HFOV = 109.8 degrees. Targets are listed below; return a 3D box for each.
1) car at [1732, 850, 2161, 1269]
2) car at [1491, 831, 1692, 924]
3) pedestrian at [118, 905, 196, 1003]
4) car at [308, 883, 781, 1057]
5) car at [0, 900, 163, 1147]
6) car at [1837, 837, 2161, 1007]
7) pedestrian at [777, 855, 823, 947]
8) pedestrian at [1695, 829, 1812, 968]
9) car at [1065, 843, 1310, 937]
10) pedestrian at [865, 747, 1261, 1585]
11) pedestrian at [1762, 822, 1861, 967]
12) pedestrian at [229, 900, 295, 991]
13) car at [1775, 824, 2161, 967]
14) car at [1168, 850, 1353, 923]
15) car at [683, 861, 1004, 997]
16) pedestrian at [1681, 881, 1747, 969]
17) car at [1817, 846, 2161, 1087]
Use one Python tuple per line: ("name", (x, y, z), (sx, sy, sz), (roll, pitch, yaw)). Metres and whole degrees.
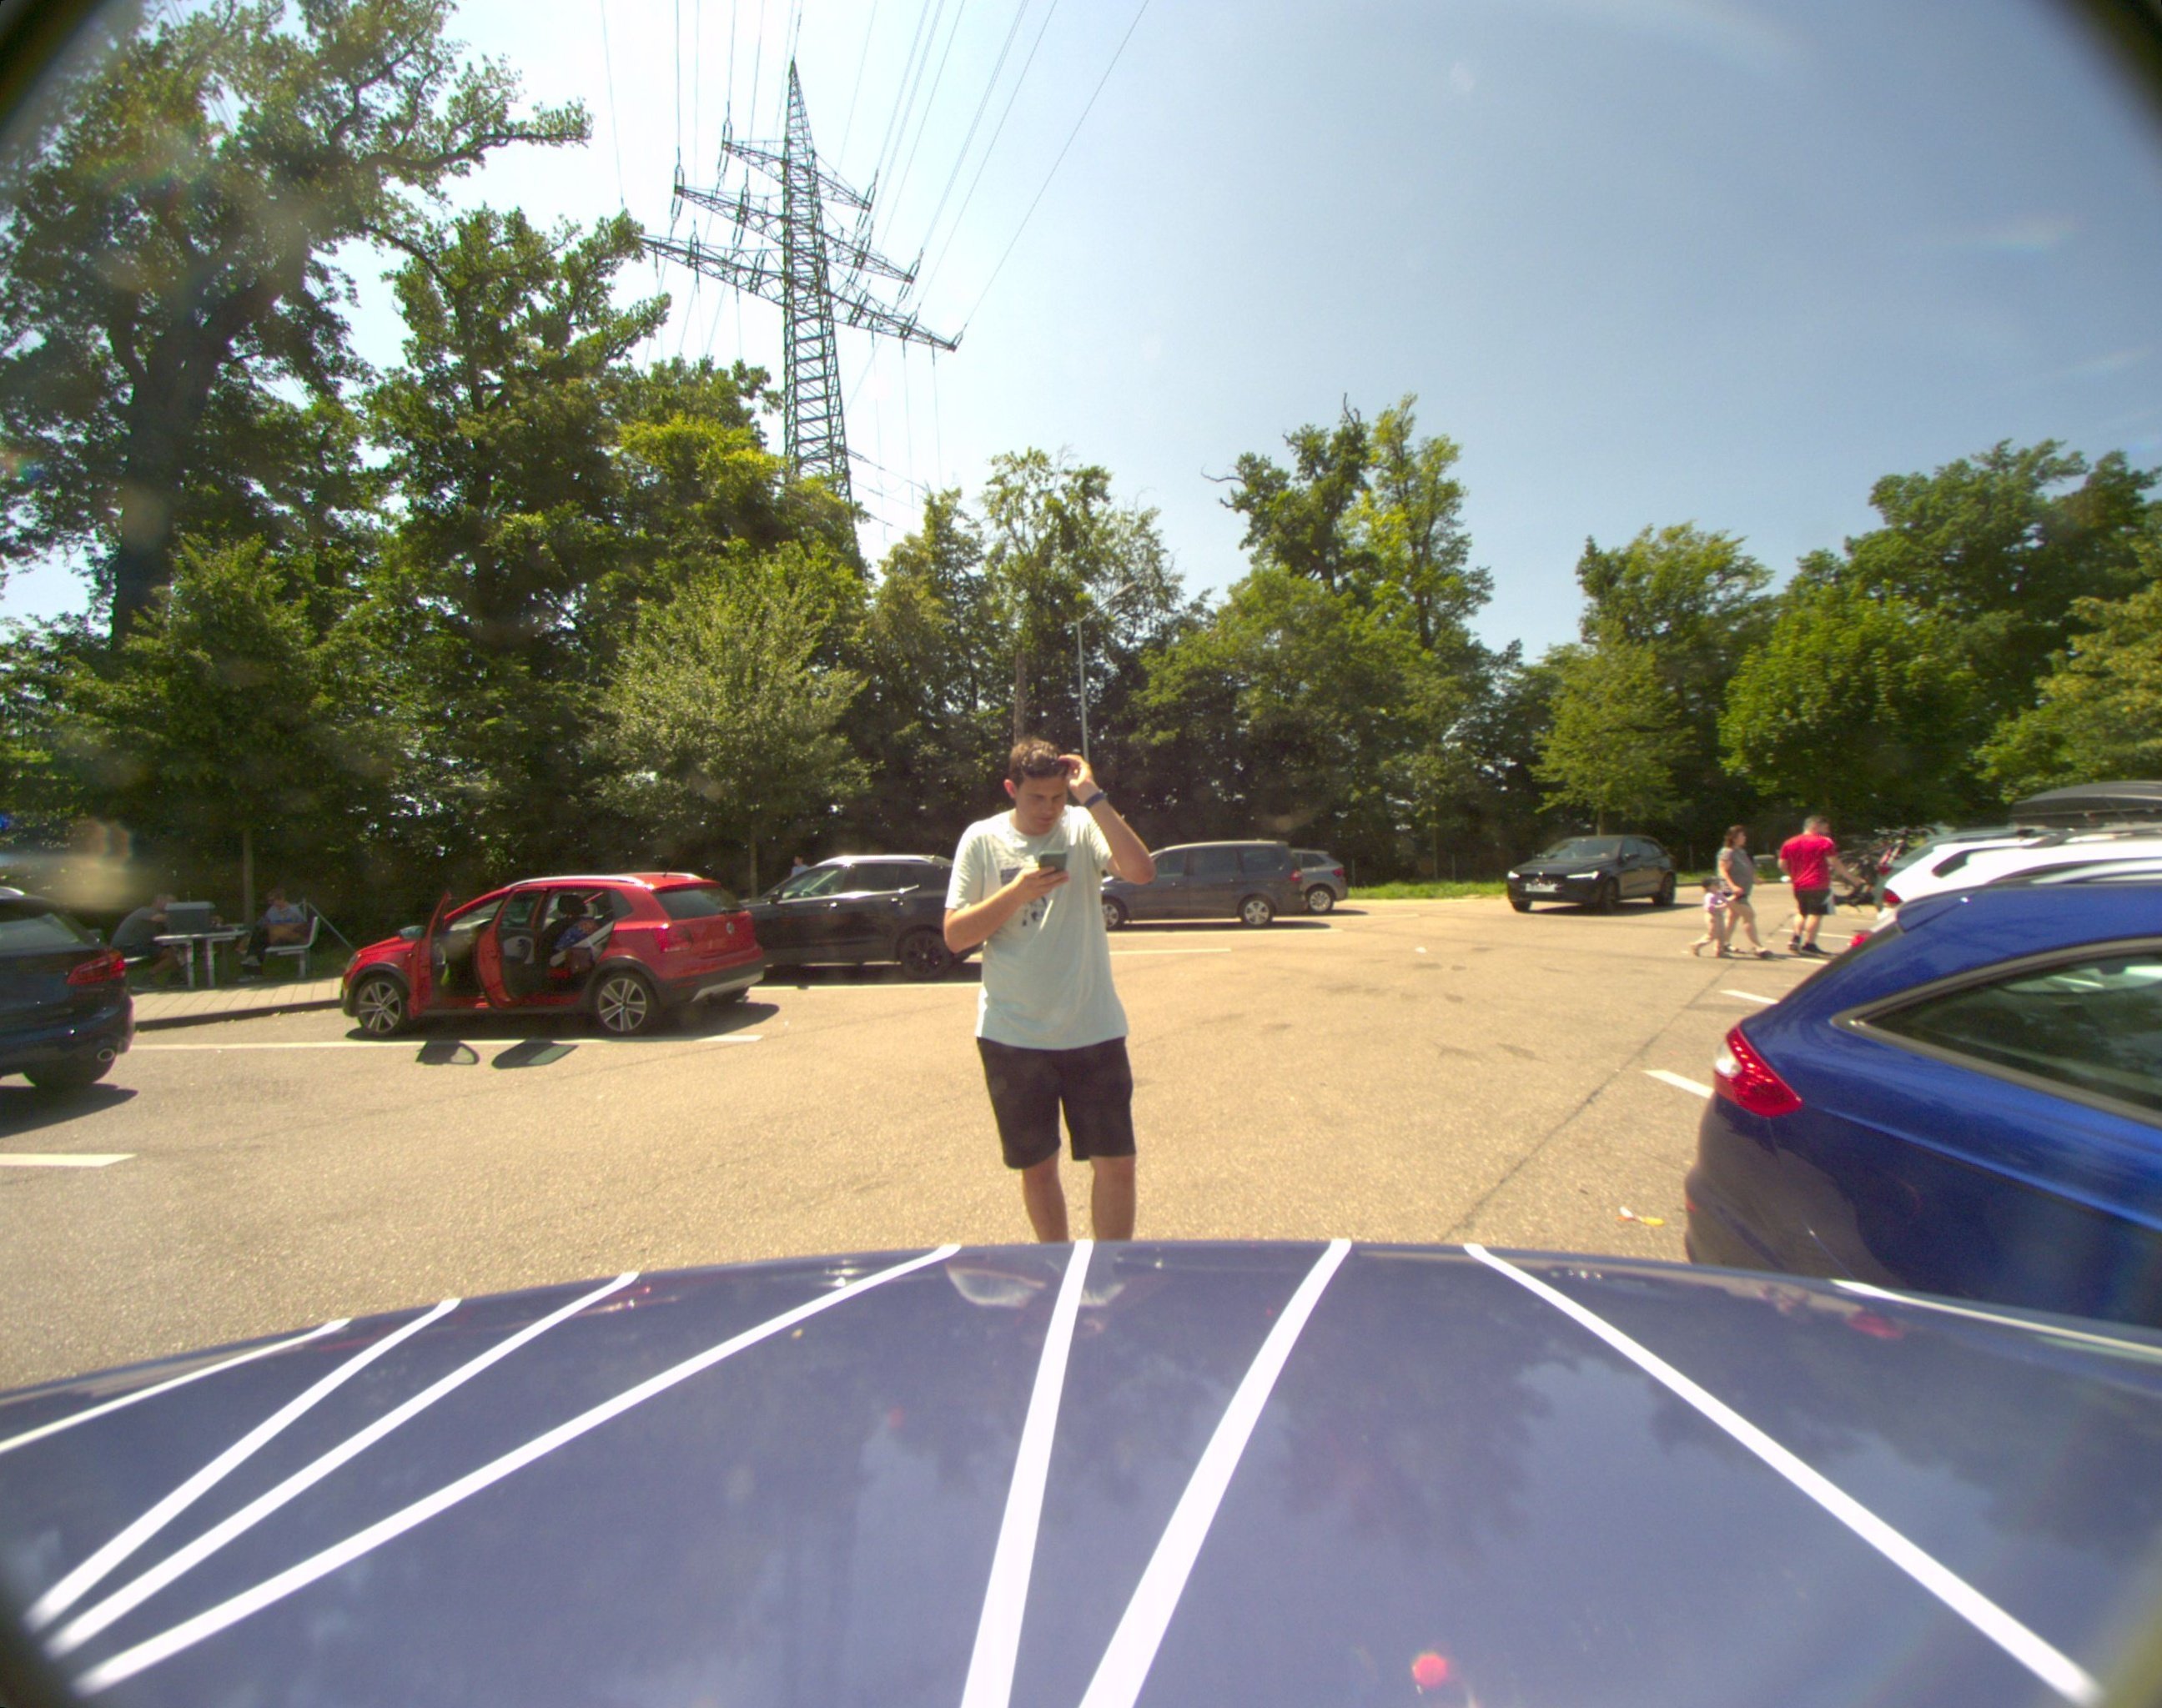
("car", (4.866, 0.738, 2.328), (1.776, 1.491, 4.495), (-3, -1, -1))
("car", (11.278, 0.425, 16.711), (4.625, 1.703, 1.995), (-2, 1, -33))
("pedestrian", (-12.639, 1.343, 10.409), (0.695, 1.228, 0.588), (-3, 0, 43))
("car", (-5.197, 1.091, 7.609), (3.730, 1.440, 1.591), (-2, 0, 7))
("car", (-8.891, 1.164, 4.963), (3.934, 1.534, 1.812), (-2, 0, 7))
("car", (10.102, 0.565, 6.874), (1.777, 1.418, 4.493), (-3, -1, -5))
("pedestrian", (-5.812, 0.953, 15.710), (0.766, 1.821, 0.519), (-3, 1, -26))
("pedestrian", (8.433, 0.535, 9.552), (0.676, 1.653, 0.833), (-2, 0, -11))
("car", (2.131, 0.709, 15.444), (4.619, 1.701, 1.740), (-2, 0, 9))
("pedestrian", (-0.050, 0.729, 2.135), (0.861, 1.940, 0.688), (-2, 1, -4))
("pedestrian", (9.169, 0.488, 9.570), (0.674, 1.722, 0.835), (-2, 1, 29))
("pedestrian", (-11.958, 1.309, 11.097), (0.695, 1.228, 0.588), (-3, 0, 43))
("car", (12.532, 0.470, 10.345), (1.777, 1.541, 4.493), (-3, -1, -5))
("car", (4.134, 0.738, 17.983), (3.996, 1.495, 1.687), (-2, 1, 3))
("car", (-3.040, 0.948, 10.286), (3.732, 1.578, 1.739), (-2, 0, 2))
("pedestrian", (7.874, 0.864, 9.457), (0.439, 1.038, 0.434), (-2, 0, -13))
("car", (7.469, 0.669, 4.487), (1.776, 1.418, 4.495), (-3, -1, -1))
